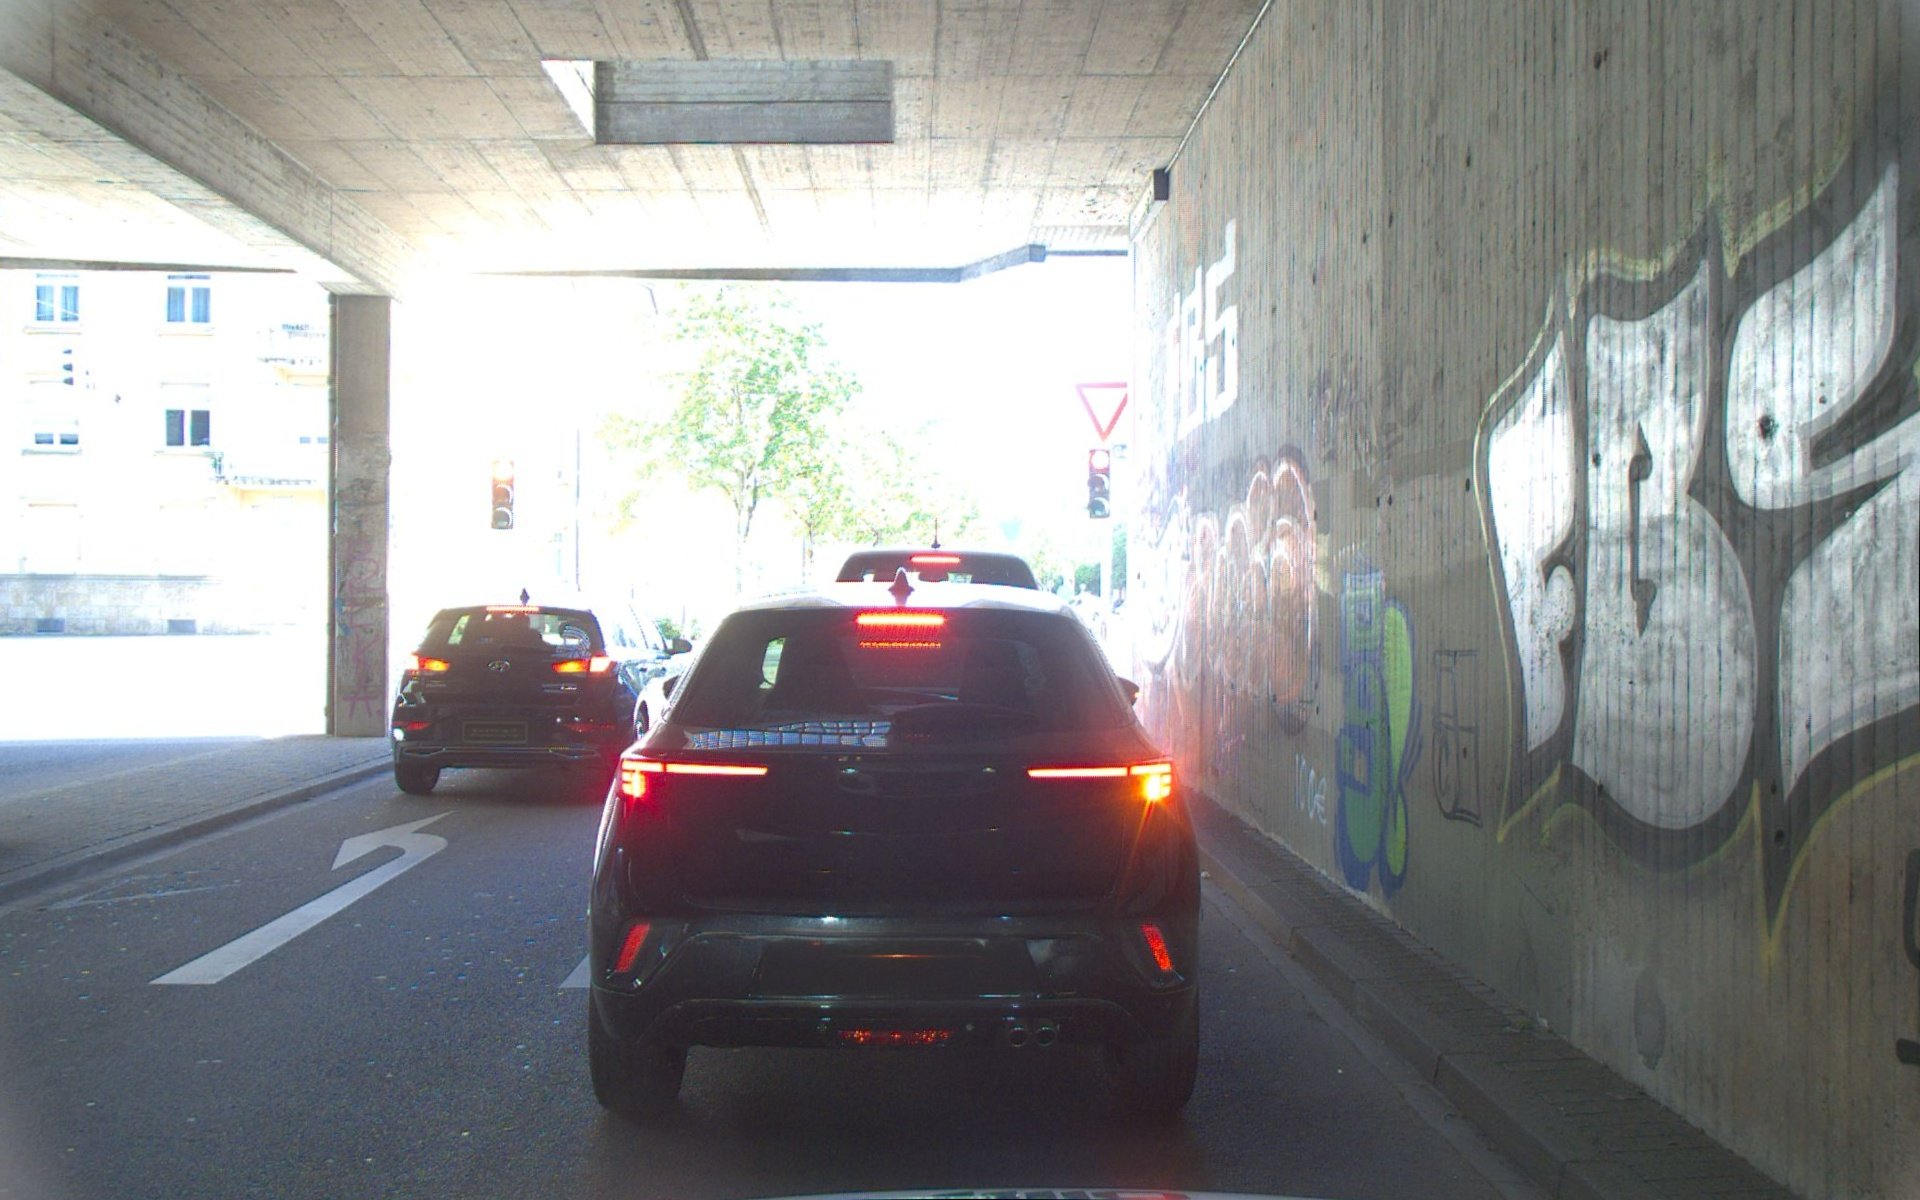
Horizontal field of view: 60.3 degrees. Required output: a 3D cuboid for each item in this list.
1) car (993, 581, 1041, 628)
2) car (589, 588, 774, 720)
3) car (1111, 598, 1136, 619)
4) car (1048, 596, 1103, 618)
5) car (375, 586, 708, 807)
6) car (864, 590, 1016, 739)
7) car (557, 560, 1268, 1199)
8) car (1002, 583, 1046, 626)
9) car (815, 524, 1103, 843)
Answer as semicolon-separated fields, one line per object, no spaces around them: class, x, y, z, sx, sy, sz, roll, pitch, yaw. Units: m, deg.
car;2.184;0.173;62.216;1.717;1.696;3.946;1;0;3
car;-3.418;0.616;20.941;1.726;1.506;3.843;0;0;-1
car;13.726;0.684;138.579;1.716;1.696;3.948;1;0;10
car;9.460;0.598;135.204;1.793;1.696;4.782;1;0;44
car;-3.149;0.656;13.220;1.726;1.506;3.843;0;0;-1
car;-0.237;0.665;19.236;1.576;1.539;4.053;0;0;-1
car;-0.139;0.682;6.077;1.726;1.558;4.088;0;0;-1
car;2.675;0.207;68.342;1.717;1.696;3.946;1;0;3
car;-0.032;0.499;12.022;1.726;1.915;4.145;0;0;-1
